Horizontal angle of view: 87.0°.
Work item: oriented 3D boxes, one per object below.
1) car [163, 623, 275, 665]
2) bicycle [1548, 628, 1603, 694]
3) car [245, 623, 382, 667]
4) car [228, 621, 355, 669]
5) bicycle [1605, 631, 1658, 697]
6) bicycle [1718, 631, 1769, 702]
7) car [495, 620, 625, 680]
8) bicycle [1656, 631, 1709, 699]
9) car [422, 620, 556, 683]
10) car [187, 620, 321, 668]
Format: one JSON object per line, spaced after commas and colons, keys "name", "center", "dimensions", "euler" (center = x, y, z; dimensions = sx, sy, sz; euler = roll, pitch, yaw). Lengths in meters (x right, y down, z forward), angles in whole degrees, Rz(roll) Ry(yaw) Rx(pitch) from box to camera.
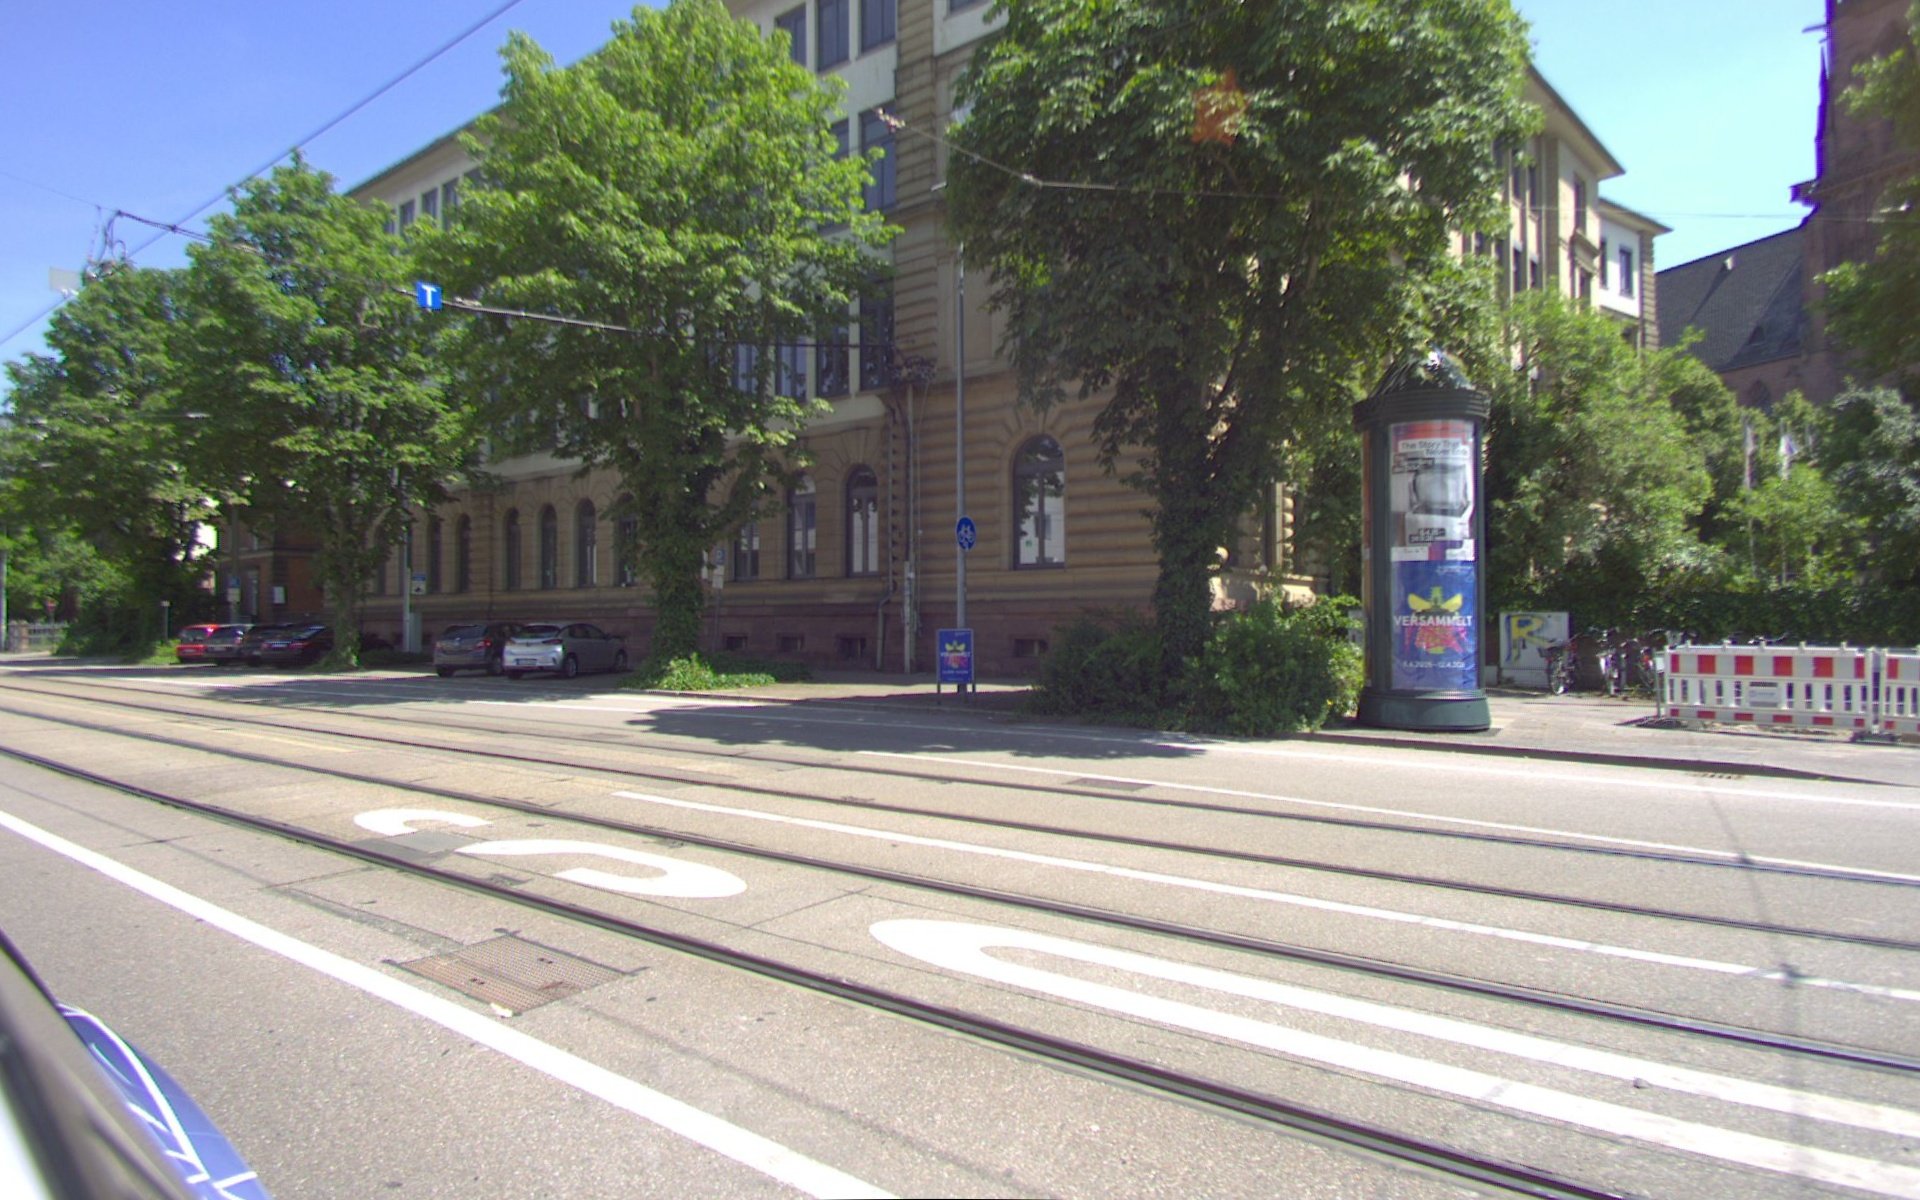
{"name": "car", "center": [-28.869, 1.693, 39.520], "dimensions": [1.651, 1.527, 3.342], "euler": [-1, -1, 10]}
{"name": "bicycle", "center": [11.369, 1.100, 18.671], "dimensions": [1.663, 1.156, 0.464], "euler": [1, -1, -44]}
{"name": "car", "center": [-21.486, 1.489, 33.839], "dimensions": [1.651, 1.385, 3.921], "euler": [-1, -2, 10]}
{"name": "car", "center": [-23.759, 1.571, 36.135], "dimensions": [1.772, 1.589, 3.810], "euler": [-1, -2, 6]}
{"name": "bicycle", "center": [11.995, 1.108, 18.067], "dimensions": [0.504, 1.111, 1.714], "euler": [-2, -2, 43]}
{"name": "bicycle", "center": [13.146, 1.090, 16.971], "dimensions": [0.504, 1.111, 1.714], "euler": [-2, -2, 43]}
{"name": "car", "center": [-10.345, 1.262, 26.448], "dimensions": [1.682, 1.416, 3.541], "euler": [-1, -1, 7]}
{"name": "bicycle", "center": [12.542, 1.102, 17.548], "dimensions": [0.504, 1.111, 1.714], "euler": [-2, -2, 43]}
{"name": "car", "center": [-12.851, 1.378, 27.867], "dimensions": [1.649, 1.531, 3.669], "euler": [-1, 0, 7]}
{"name": "car", "center": [-26.152, 1.602, 37.679], "dimensions": [1.649, 1.596, 4.314], "euler": [-1, 0, 6]}
